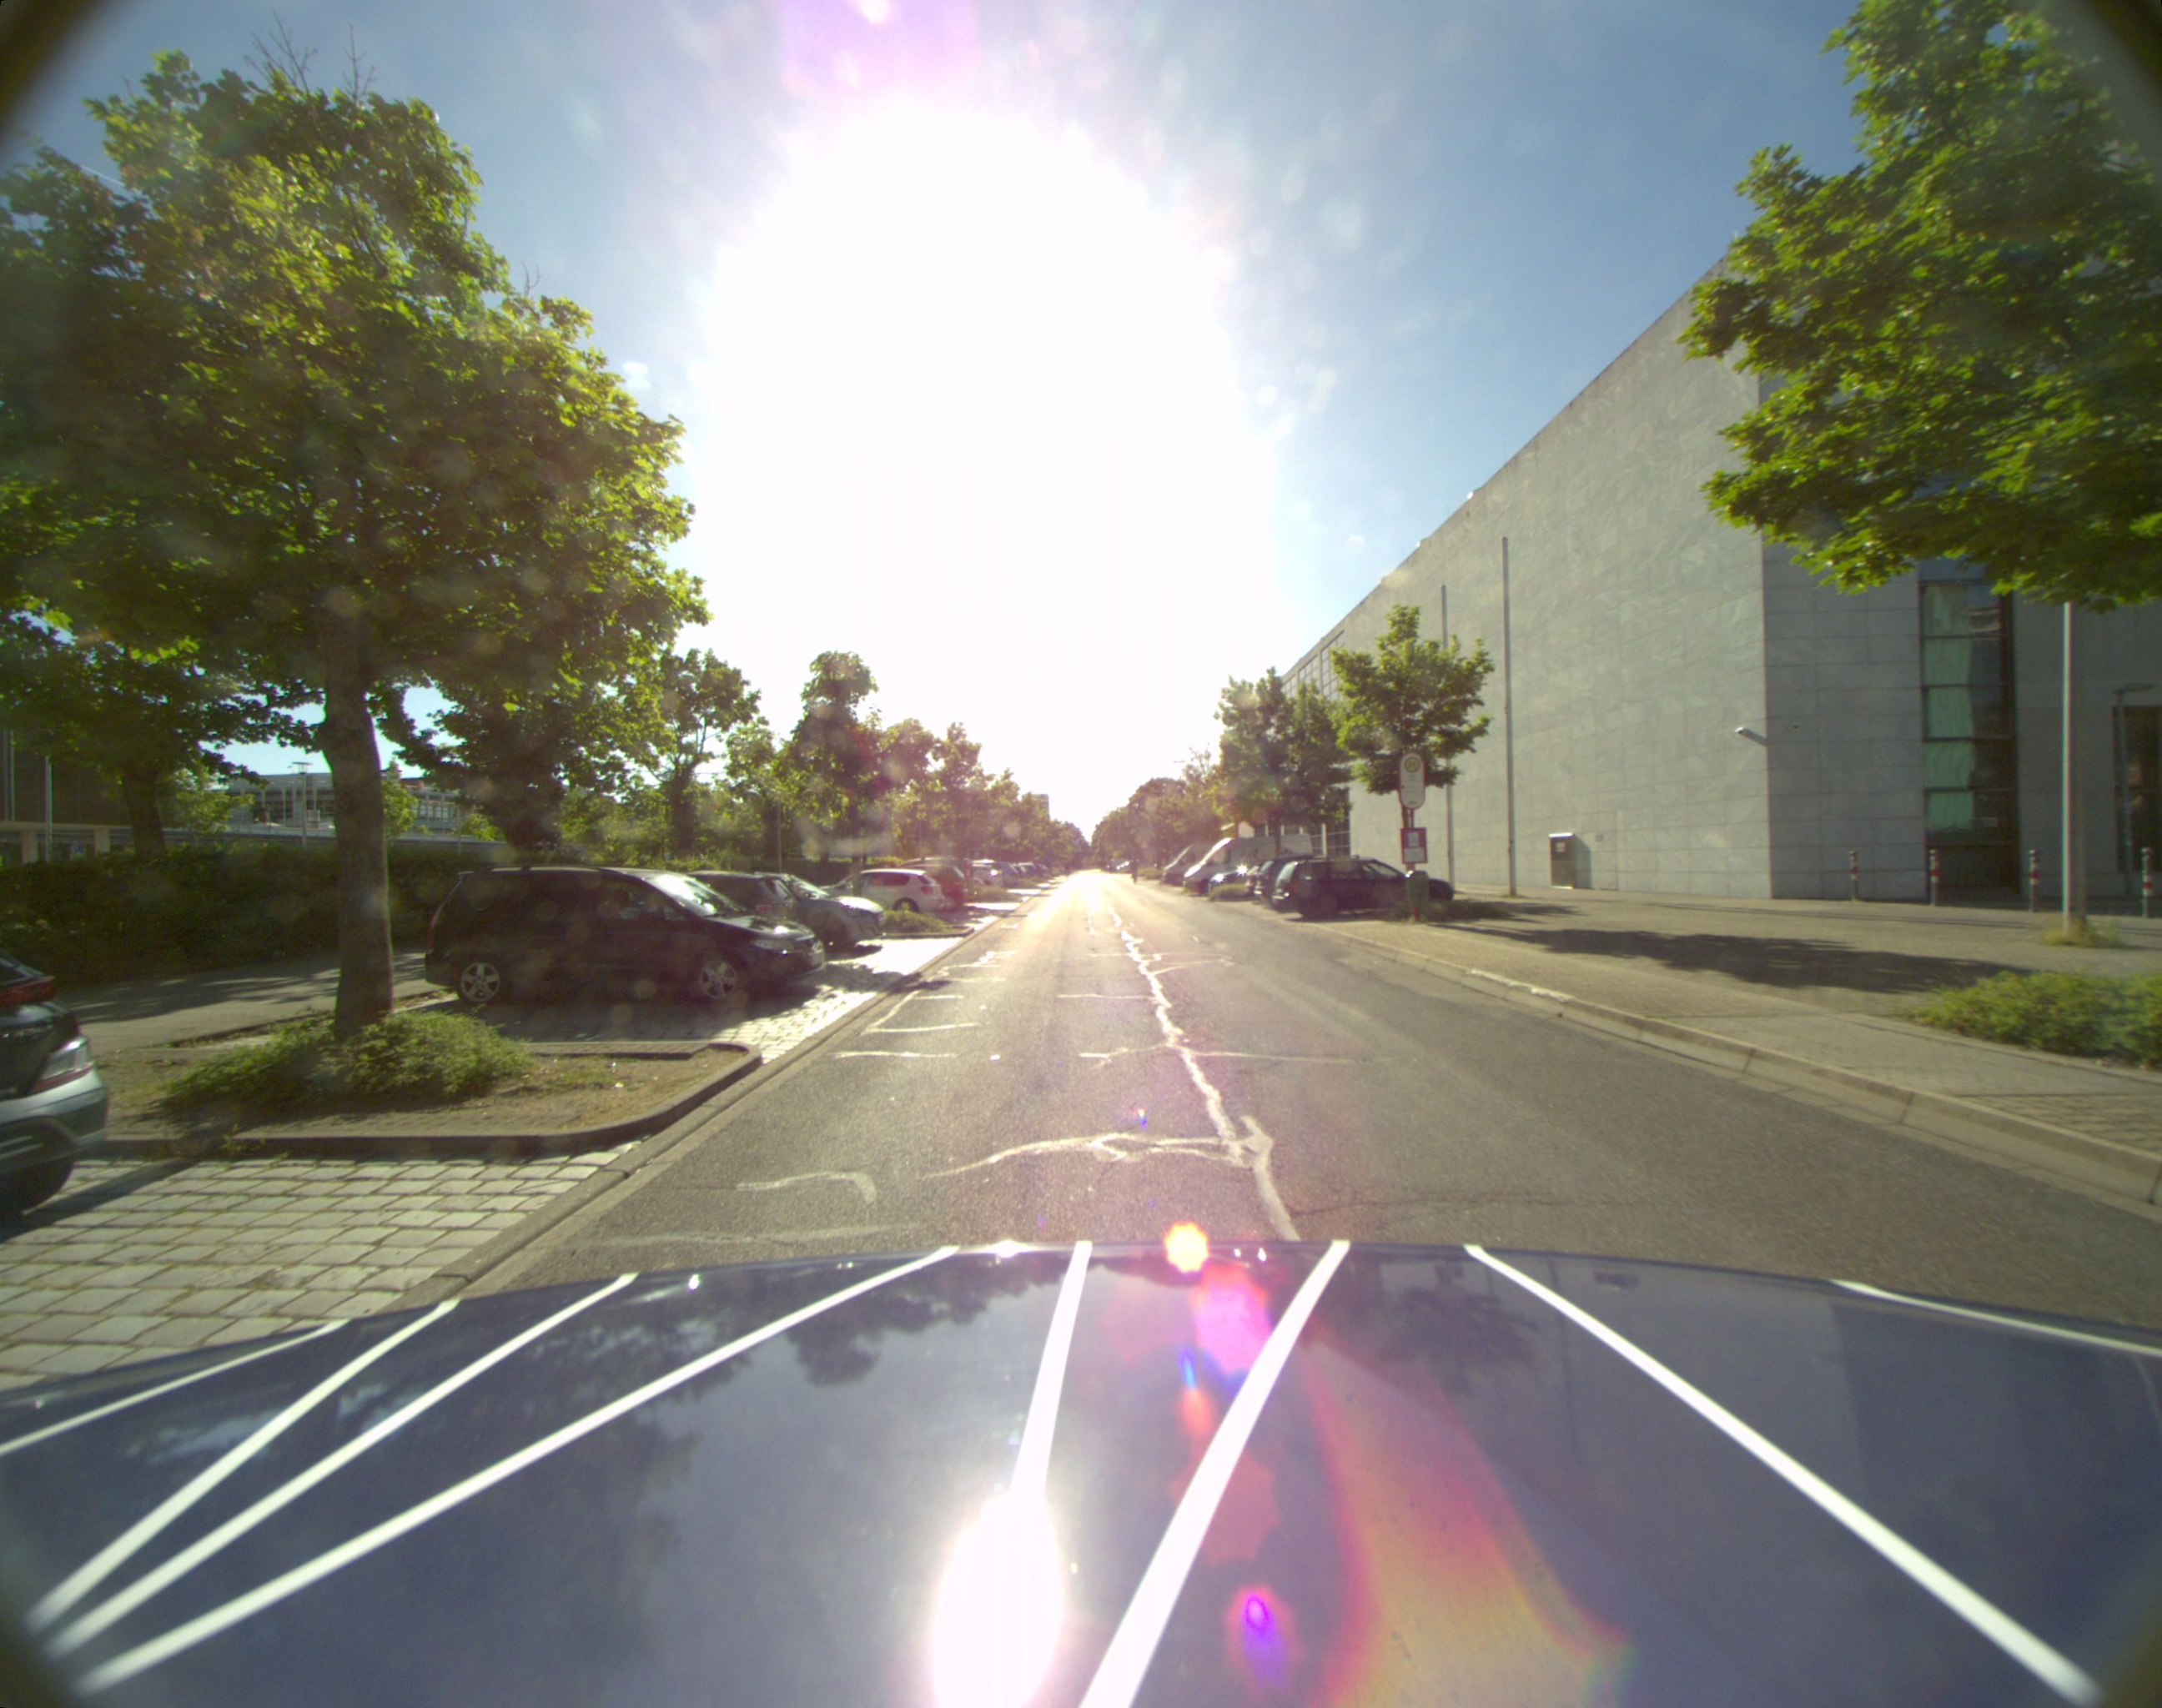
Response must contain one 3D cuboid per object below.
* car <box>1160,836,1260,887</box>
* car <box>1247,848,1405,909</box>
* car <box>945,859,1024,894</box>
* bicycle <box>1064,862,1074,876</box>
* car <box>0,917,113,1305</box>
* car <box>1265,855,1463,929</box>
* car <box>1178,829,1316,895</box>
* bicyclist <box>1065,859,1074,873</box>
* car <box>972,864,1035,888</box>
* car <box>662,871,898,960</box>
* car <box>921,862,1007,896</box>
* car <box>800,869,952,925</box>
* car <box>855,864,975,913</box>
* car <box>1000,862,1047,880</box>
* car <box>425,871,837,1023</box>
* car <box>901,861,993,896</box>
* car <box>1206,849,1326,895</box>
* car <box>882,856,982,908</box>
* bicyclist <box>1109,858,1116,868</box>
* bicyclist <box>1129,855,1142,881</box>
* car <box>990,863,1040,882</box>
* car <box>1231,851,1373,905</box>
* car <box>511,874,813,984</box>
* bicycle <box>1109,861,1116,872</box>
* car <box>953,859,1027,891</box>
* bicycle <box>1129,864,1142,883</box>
[{"bbox_3d":[7.689,0.421,45.646,5.582,2.622,2.010,-4,0,3],"label":"car"},{"bbox_3d":[7.619,0.739,23.880,4.315,1.574,1.693,-4,0,0],"label":"car"},{"bbox_3d":[-4.791,1.091,38.081,3.717,1.662,1.676,-1,0,0],"label":"car"},{"bbox_3d":[-1.032,1.347,67.538,0.792,1.215,2.263,-1,0,2],"label":"bicycle"},{"bbox_3d":[-6.149,1.045,2.524,3.716,1.505,1.735,-1,0,2],"label":"car"},{"bbox_3d":[7.079,0.918,19.321,4.315,1.505,1.718,-4,0,0],"label":"car"},{"bbox_3d":[7.295,0.357,33.823,5.582,2.468,2.010,-4,0,3],"label":"car"},{"bbox_3d":[-1.023,1.049,67.601,0.792,1.215,1.063,-1,0,2],"label":"bicyclist"},{"bbox_3d":[-4.771,1.355,47.177,3.717,1.417,1.676,-1,0,0],"label":"car"},{"bbox_3d":[-5.500,1.101,14.218,3.717,1.505,1.676,-1,0,0],"label":"car"},{"bbox_3d":[-5.421,1.156,35.571,3.717,1.516,1.676,-1,0,0],"label":"car"},{"bbox_3d":[-5.656,1.179,21.290,3.761,1.417,1.731,-1,0,0],"label":"car"},{"bbox_3d":[-5.596,1.147,25.936,3.717,1.557,1.676,-1,0,0],"label":"car"},{"bbox_3d":[-4.615,1.350,61.384,3.717,1.417,1.676,-1,0,0],"label":"car"},{"bbox_3d":[-5.222,1.035,9.222,3.961,1.591,1.676,-1,0,-1],"label":"car"},{"bbox_3d":[-5.820,1.063,33.277,3.717,1.417,1.676,-1,0,0],"label":"car"},{"bbox_3d":[7.347,0.714,30.476,4.315,1.505,1.693,-4,0,0],"label":"car"},{"bbox_3d":[-5.561,1.014,28.591,3.391,1.877,1.696,-1,0,0],"label":"car"},{"bbox_3d":[3.685,1.061,88.604,0.792,1.215,0.823,-1,0,2],"label":"bicyclist"},{"bbox_3d":[3.695,0.946,51.656,0.792,1.696,1.104,-1,0,2],"label":"bicyclist"},{"bbox_3d":[-5.067,1.402,58.911,3.717,1.417,1.676,-1,0,0],"label":"car"},{"bbox_3d":[7.554,0.807,26.207,4.315,1.505,1.693,-4,0,0],"label":"car"},{"bbox_3d":[-6.321,1.097,11.774,3.717,1.505,1.676,-1,0,0],"label":"car"},{"bbox_3d":[3.685,1.495,88.722,0.792,1.215,2.263,-1,0,2],"label":"bicycle"},{"bbox_3d":[-4.871,1.118,41.012,3.717,1.662,1.676,-1,0,0],"label":"car"},{"bbox_3d":[3.703,1.338,51.758,0.792,1.215,2.263,-1,0,2],"label":"bicycle"}]
